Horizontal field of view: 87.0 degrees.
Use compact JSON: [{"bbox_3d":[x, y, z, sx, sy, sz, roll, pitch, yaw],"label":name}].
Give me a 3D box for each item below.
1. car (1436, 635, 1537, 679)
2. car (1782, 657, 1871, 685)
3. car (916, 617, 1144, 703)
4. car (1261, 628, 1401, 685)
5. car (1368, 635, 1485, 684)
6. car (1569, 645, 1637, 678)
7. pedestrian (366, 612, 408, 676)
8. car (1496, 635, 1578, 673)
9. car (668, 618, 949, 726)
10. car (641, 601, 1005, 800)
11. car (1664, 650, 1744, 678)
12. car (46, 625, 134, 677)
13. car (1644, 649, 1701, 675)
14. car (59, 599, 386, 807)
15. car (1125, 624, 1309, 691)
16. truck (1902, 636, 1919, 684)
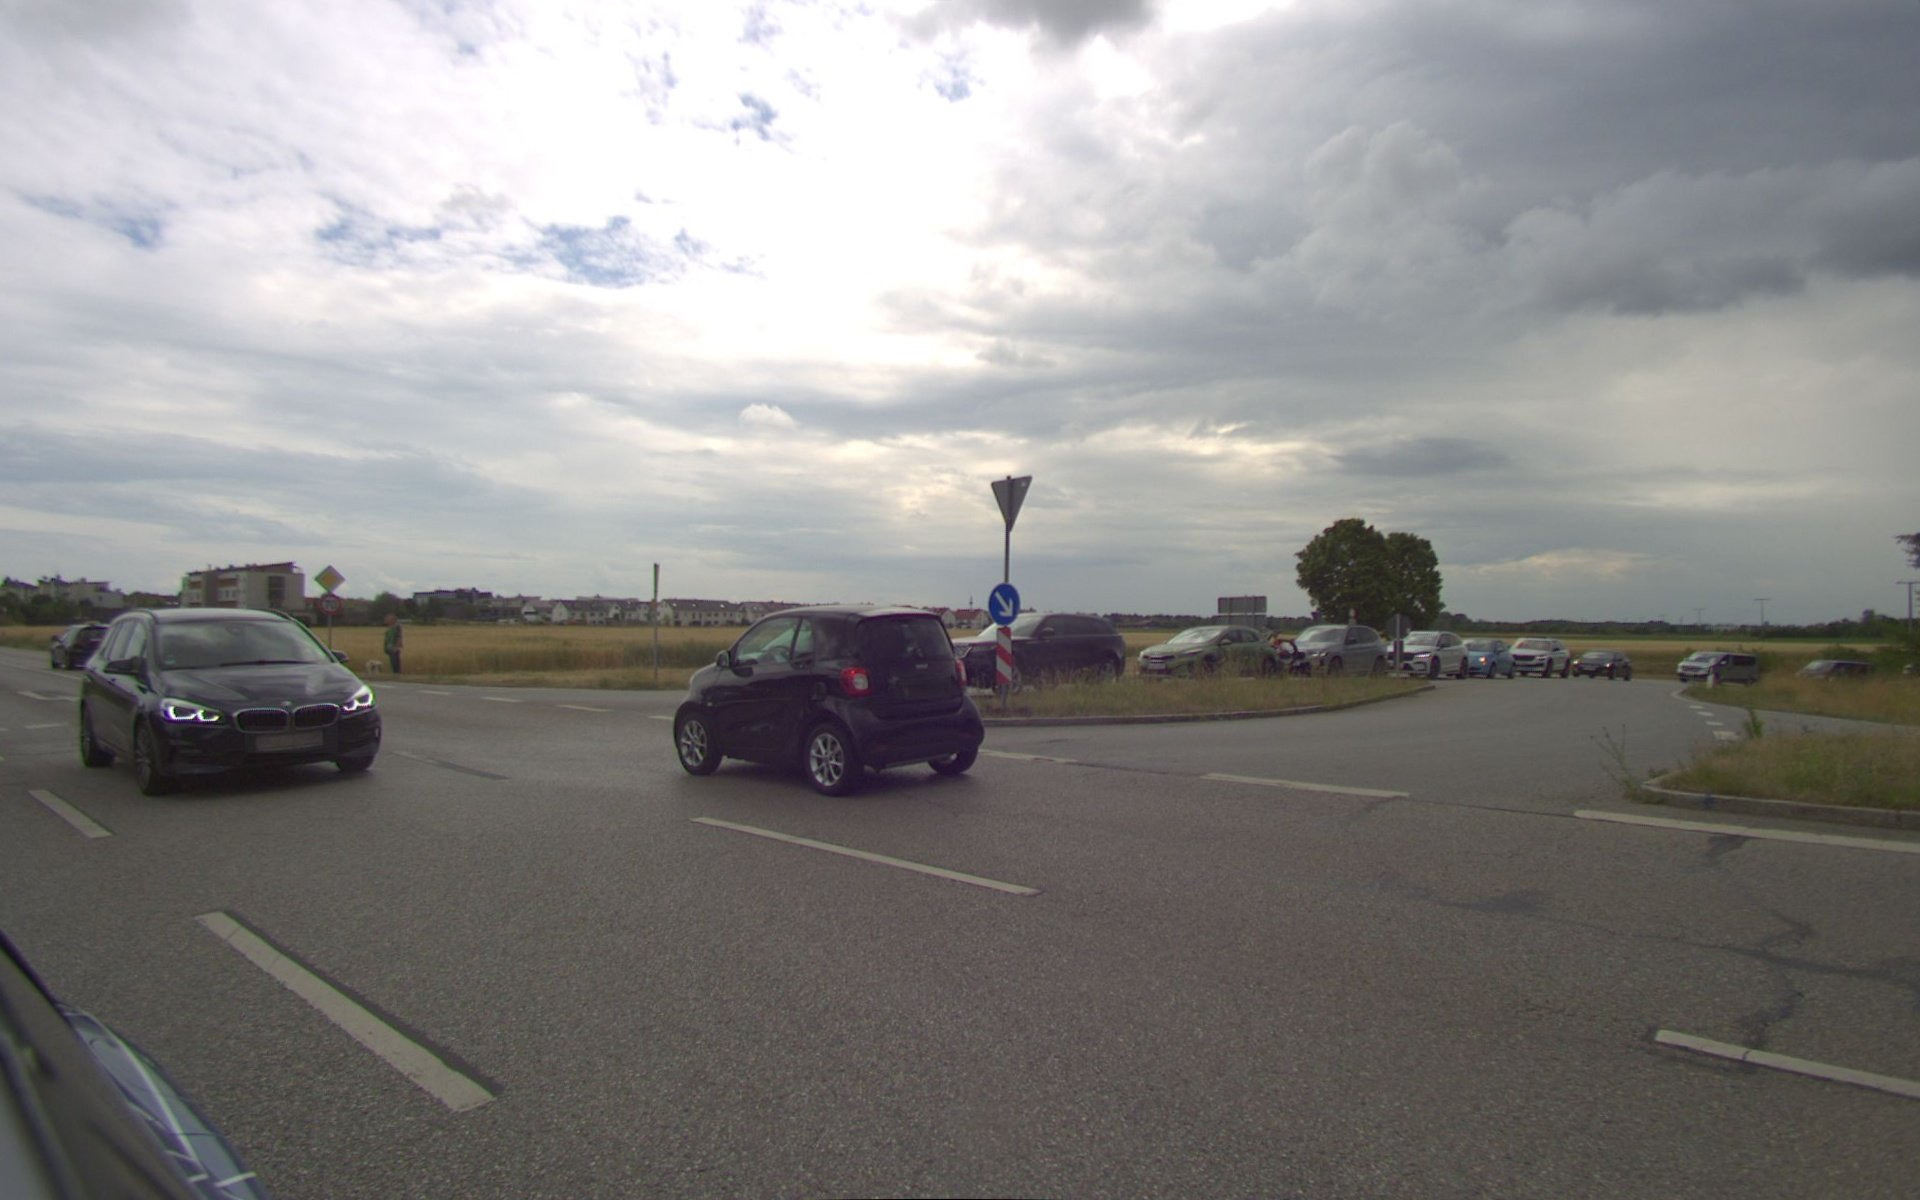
[{"bbox_3d":[19.682,2.081,37.792,4.436,1.493,1.913,1,-2,-42],"label":"car"},{"bbox_3d":[55.632,4.563,64.980,4.432,1.694,1.915,0,-2,-10],"label":"car"},{"bbox_3d":[1.510,1.140,20.459,4.682,1.543,1.913,1,-2,-42],"label":"car"},{"bbox_3d":[10.878,1.582,29.532,4.567,1.528,1.913,1,-2,-42],"label":"car"},{"bbox_3d":[15.503,1.925,33.553,4.436,1.493,1.913,1,-2,-42],"label":"car"},{"bbox_3d":[32.052,3.048,50.387,1.912,1.493,4.439,-2,-2,45],"label":"car"},{"bbox_3d":[-14.757,1.126,26.053,0.865,1.617,0.587,-1,-5,40],"label":"pedestrian"},{"bbox_3d":[24.242,2.220,42.468,1.912,1.493,4.439,-2,-2,45],"label":"car"},{"bbox_3d":[-2.187,1.023,15.813,1.906,1.435,4.414,-1,-2,34],"label":"car"},{"bbox_3d":[-1.339,0.788,9.299,3.167,1.495,1.644,-2,-1,41],"label":"car"},{"bbox_3d":[44.423,3.798,60.429,4.427,1.493,1.917,1,-2,-24],"label":"car"},{"bbox_3d":[-28.542,1.616,33.161,4.395,1.533,1.661,-1,-1,42],"label":"car"},{"bbox_3d":[49.780,4.293,70.673,4.432,1.694,1.915,1,-2,-36],"label":"car"},{"bbox_3d":[-7.499,0.858,10.103,4.480,1.623,1.684,-2,0,41],"label":"car"},{"bbox_3d":[6.542,1.377,25.434,5.220,1.533,1.913,1,-2,-42],"label":"car"},{"bbox_3d":[71.150,3.889,65.603,16.123,3.157,2.795,0,-2,7],"label":"truck"}]
